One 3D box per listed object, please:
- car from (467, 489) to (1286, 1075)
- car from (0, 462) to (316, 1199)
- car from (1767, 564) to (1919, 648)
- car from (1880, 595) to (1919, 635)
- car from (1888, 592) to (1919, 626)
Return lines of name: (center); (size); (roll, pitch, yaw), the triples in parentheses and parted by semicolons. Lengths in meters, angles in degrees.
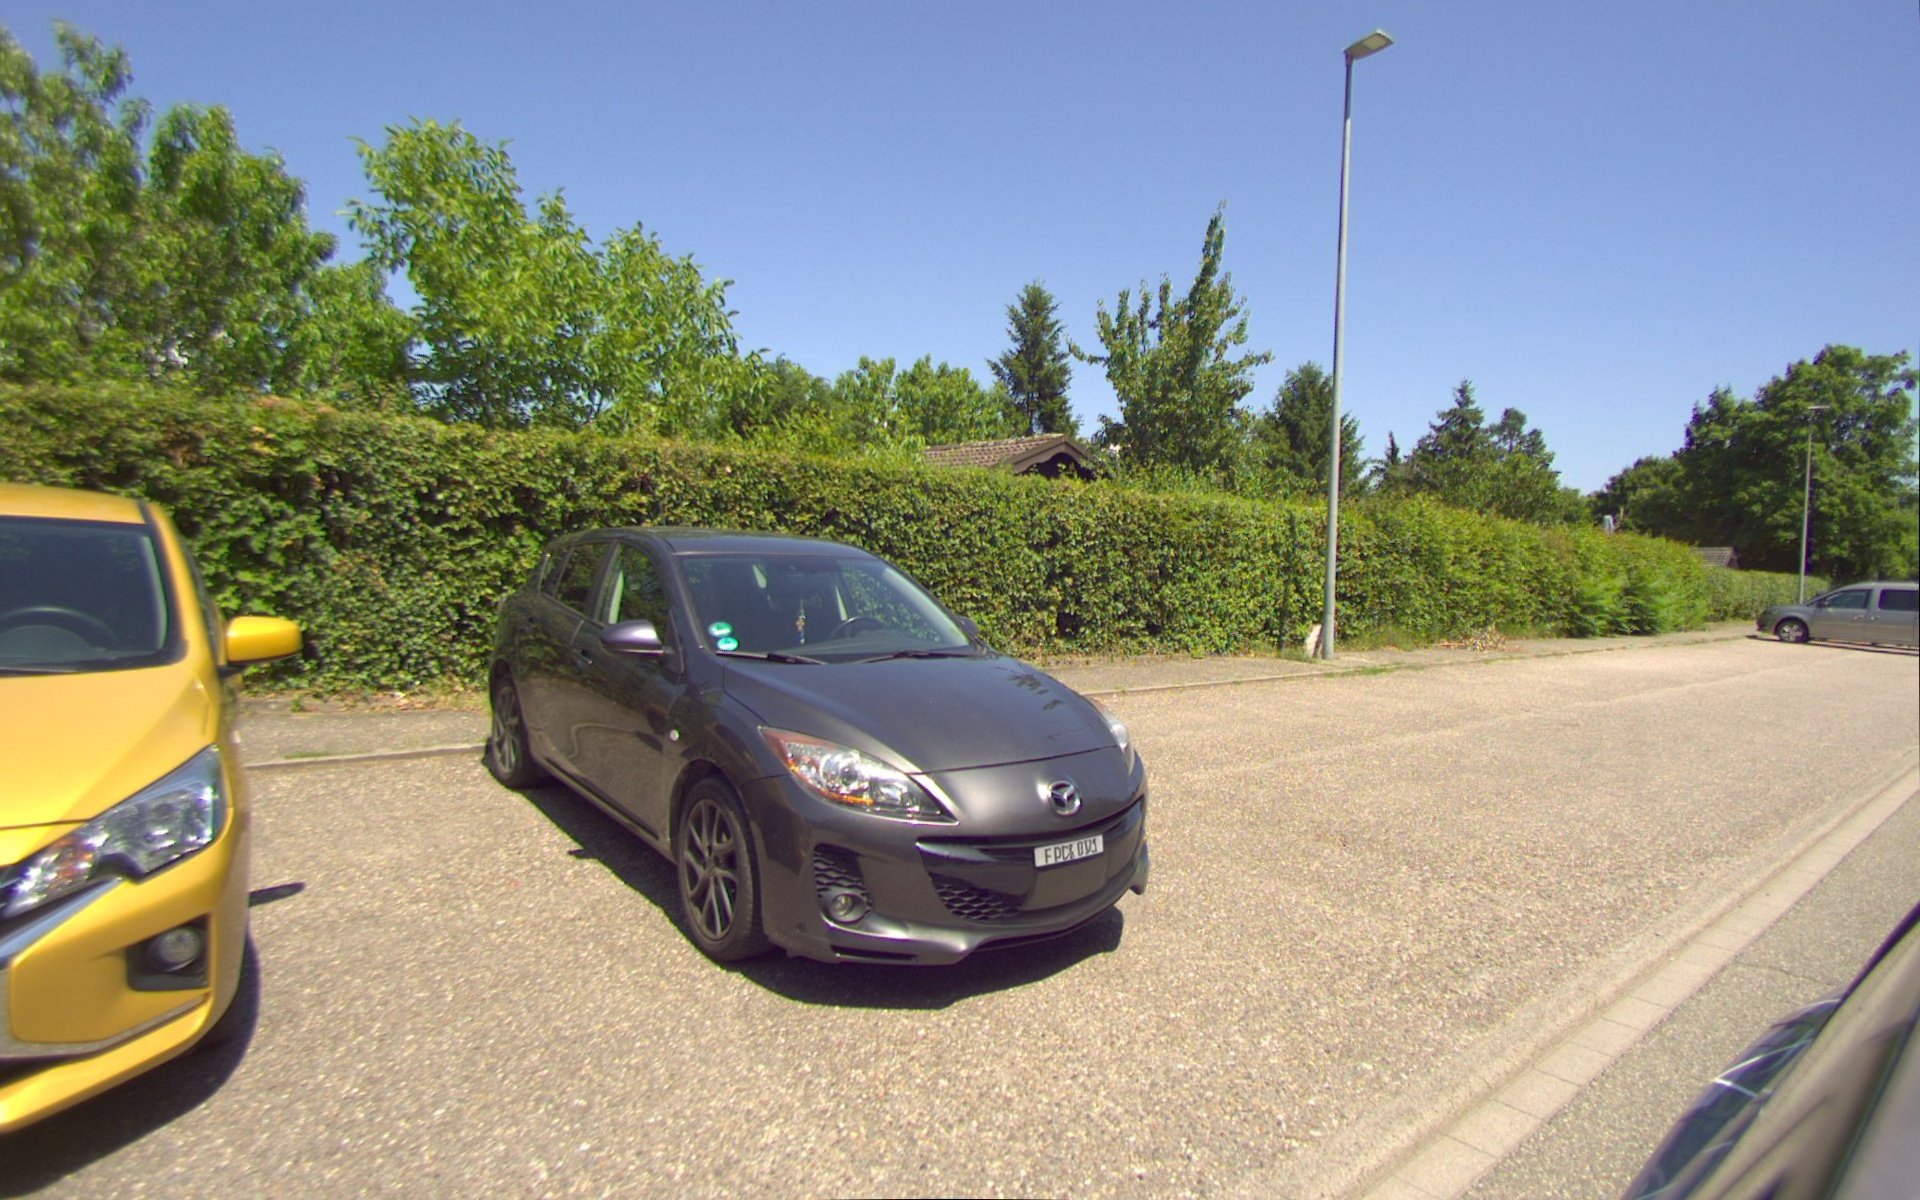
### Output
car: (-0.837, 0.308, 4.847); (1.849, 1.513, 4.177); (0, 5, -39)
car: (-3.201, 0.323, 3.161); (1.741, 1.472, 3.815); (0, 5, -36)
car: (24.232, 0.199, 26.361); (1.961, 1.870, 4.633); (1, 5, -41)
car: (46.490, 0.904, 47.589); (1.881, 1.723, 4.481); (1, 7, -43)
car: (44.603, 0.497, 45.523); (1.801, 1.470, 4.004); (0, 4, -43)
